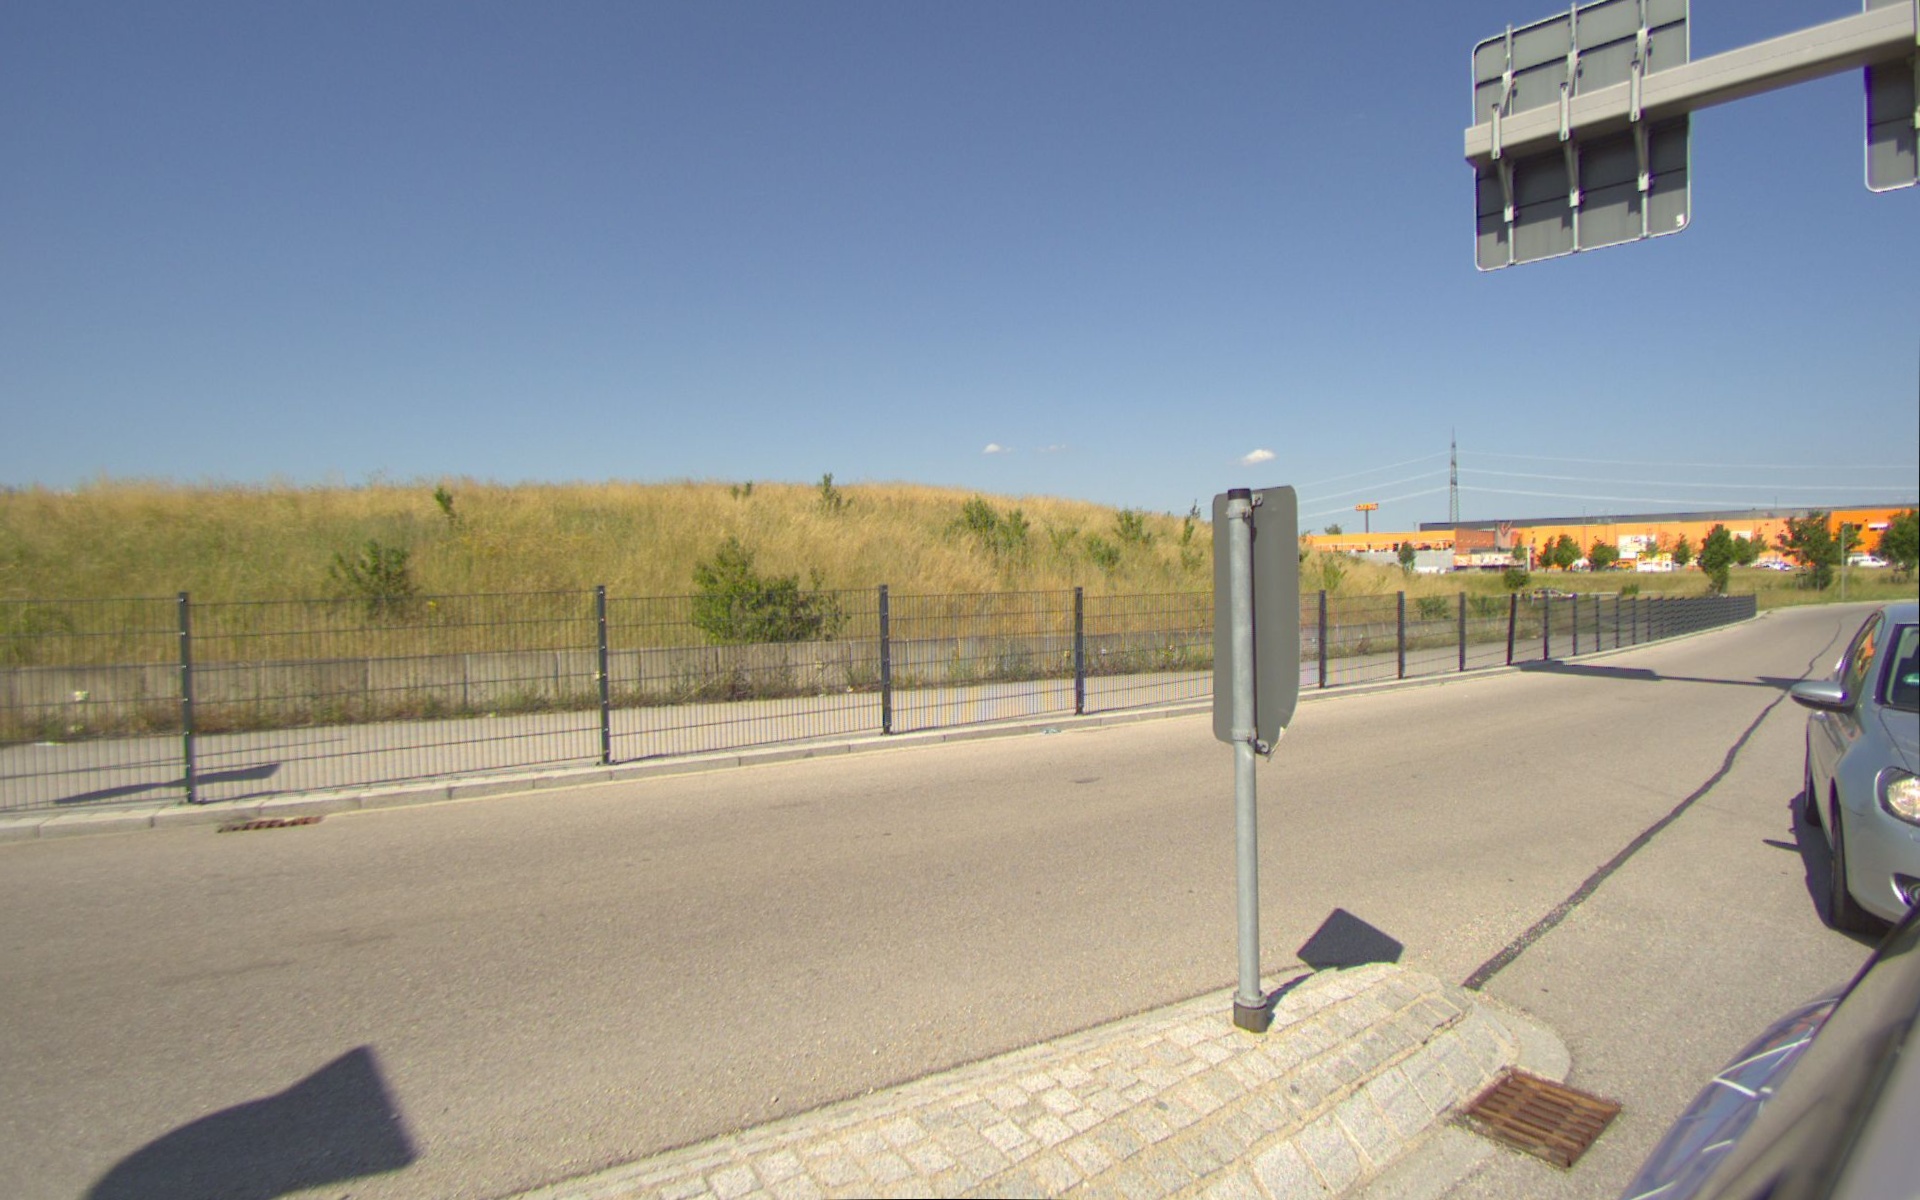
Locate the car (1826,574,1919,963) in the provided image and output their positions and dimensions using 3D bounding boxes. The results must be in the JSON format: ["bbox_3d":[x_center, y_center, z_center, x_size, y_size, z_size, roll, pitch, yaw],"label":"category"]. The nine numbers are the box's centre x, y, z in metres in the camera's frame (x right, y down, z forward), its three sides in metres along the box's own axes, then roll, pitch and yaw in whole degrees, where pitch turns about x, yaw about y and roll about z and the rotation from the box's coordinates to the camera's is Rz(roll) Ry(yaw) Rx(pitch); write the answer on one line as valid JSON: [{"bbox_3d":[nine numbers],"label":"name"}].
[{"bbox_3d":[5.418,0.639,4.943,1.740,1.486,3.903,3,3,40],"label":"car"}]

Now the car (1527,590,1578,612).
[{"bbox_3d":[56.932,0.074,97.244,3.980,2.039,1.972,1,1,39],"label":"car"}]

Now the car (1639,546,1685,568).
[{"bbox_3d":[87.841,-5.357,126.606,4.611,2.580,1.973,-1,0,38],"label":"car"}]

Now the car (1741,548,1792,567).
[{"bbox_3d":[95.568,-5.031,119.937,4.611,2.039,1.973,-1,1,38],"label":"car"}]
